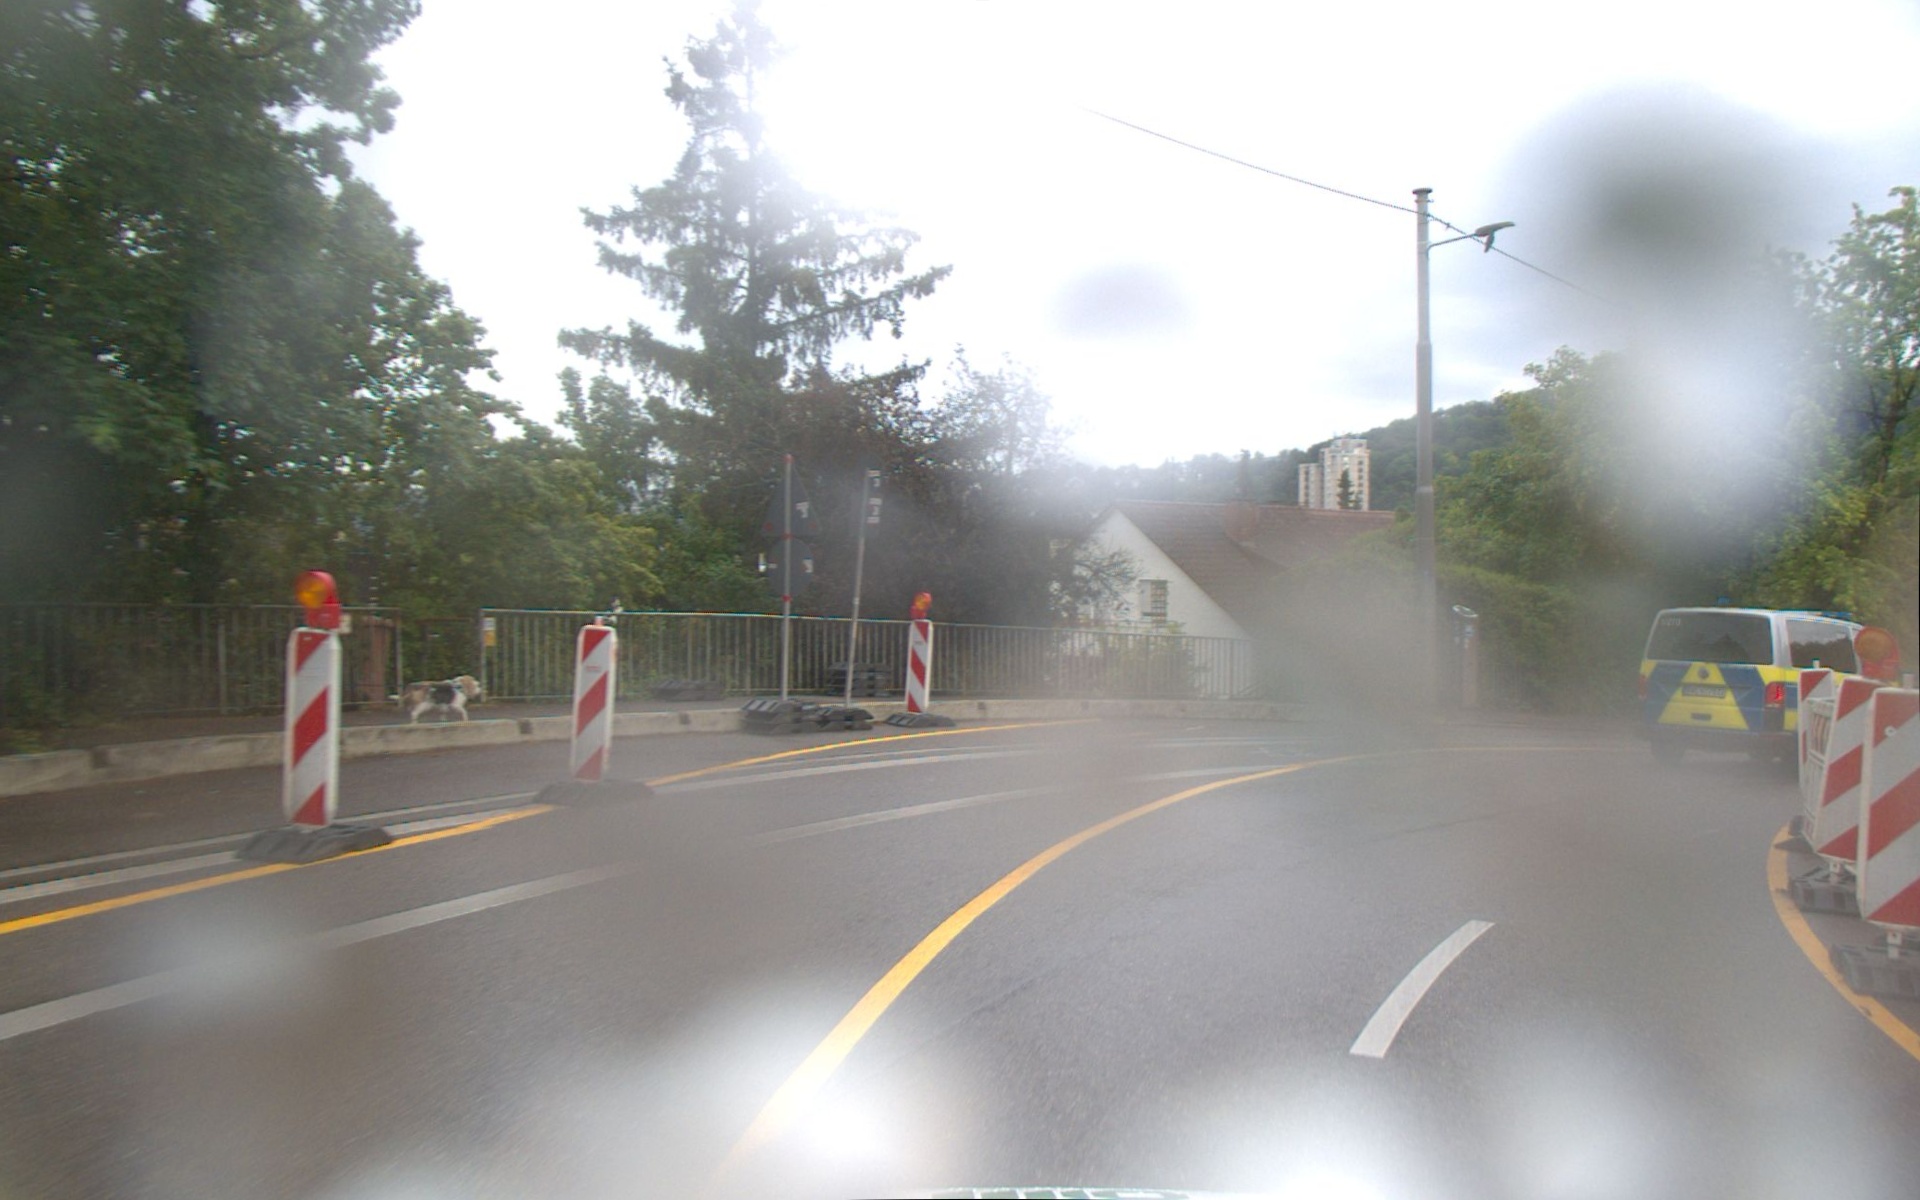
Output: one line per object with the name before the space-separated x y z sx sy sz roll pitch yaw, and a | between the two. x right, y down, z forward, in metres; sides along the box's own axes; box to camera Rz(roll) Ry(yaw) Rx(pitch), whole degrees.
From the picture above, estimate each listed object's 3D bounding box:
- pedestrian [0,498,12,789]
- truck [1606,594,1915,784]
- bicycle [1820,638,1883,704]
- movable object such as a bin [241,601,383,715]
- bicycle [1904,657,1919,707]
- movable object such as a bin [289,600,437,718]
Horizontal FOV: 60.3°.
pedestrian | -6.533 0.251 10.036 0.905 1.799 0.979 1 -1 28
truck | 10.253 1.008 21.006 4.697 2.049 1.968 -2 0 -43
bicycle | 19.889 1.591 36.892 1.721 1.373 0.417 5 -2 -34
movable object such as a bin | -6.728 0.581 17.185 0.970 1.126 1.023 0 0 37
bicycle | 22.553 1.932 38.624 1.240 1.127 0.335 5 -2 -34
movable object such as a bin | -5.948 0.575 16.504 0.970 1.126 1.023 0 -1 37
